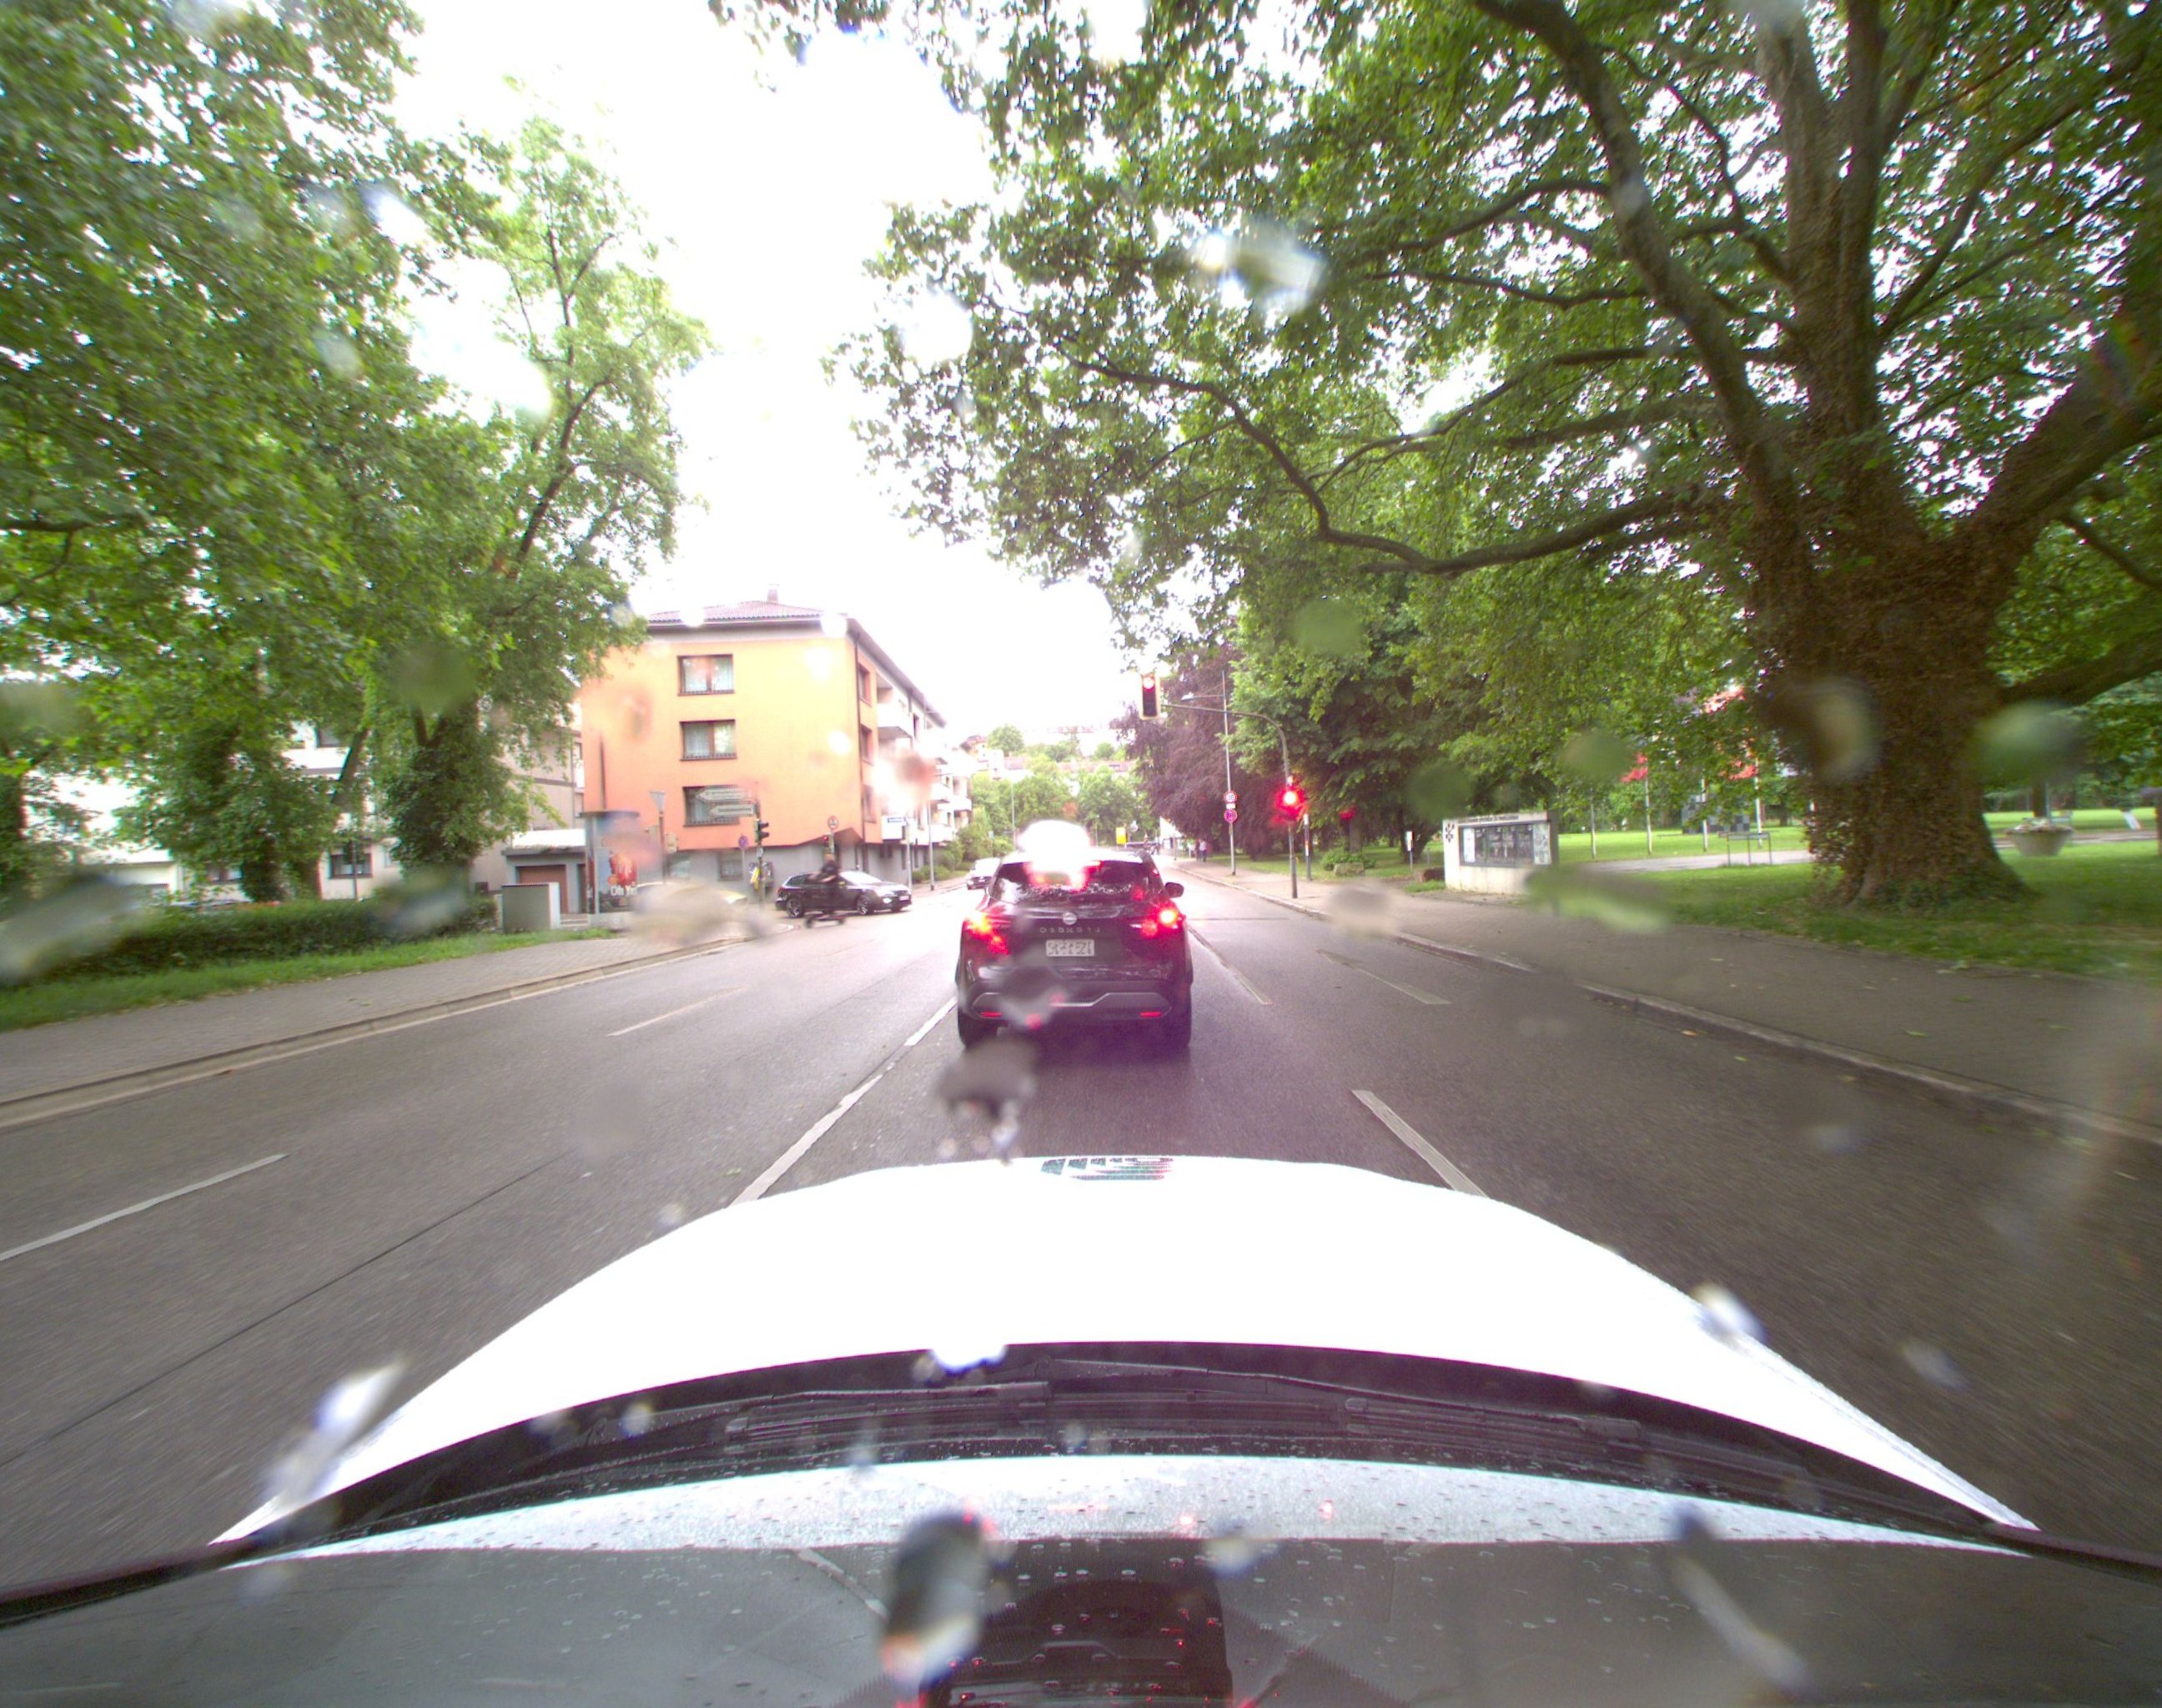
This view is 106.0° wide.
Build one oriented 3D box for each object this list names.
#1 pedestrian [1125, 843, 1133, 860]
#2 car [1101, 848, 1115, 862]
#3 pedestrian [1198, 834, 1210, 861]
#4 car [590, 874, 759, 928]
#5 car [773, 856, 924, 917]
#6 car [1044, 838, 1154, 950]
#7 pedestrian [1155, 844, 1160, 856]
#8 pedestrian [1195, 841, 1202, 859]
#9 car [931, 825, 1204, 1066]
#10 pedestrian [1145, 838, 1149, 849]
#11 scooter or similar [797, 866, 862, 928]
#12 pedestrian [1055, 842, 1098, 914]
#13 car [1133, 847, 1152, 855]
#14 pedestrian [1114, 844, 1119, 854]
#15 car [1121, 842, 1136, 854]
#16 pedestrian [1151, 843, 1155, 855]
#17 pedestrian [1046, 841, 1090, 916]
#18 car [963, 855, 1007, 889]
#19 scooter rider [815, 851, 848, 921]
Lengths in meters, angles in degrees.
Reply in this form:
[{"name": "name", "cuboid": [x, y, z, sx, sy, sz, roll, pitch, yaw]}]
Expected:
[{"name": "pedestrian", "cuboid": [5.109, -0.270, 86.721, 0.512, 1.802, 0.613, -3, 0, -32]}, {"name": "car", "cuboid": [3.329, 0.137, 99.326, 1.628, 1.532, 3.969, -3, 0, 2]}, {"name": "pedestrian", "cuboid": [9.460, -0.488, 62.546, 0.722, 2.013, 0.852, -3, 0, 2]}, {"name": "car", "cuboid": [-13.407, 1.529, 27.053, 4.618, 1.403, 1.832, -4, 0, 1]}, {"name": "car", "cuboid": [-7.260, 1.016, 25.536, 4.092, 1.625, 1.860, -3, 0, 17]}, {"name": "car", "cuboid": [0.350, 0.646, 15.132, 1.692, 1.745, 3.642, -3, 0, 2]}, {"name": "pedestrian", "cuboid": [11.897, -0.657, 126.727, 0.507, 1.802, 0.619, -3, 0, 0]}, {"name": "pedestrian", "cuboid": [9.653, -0.311, 66.934, 0.388, 1.502, 0.559, -3, 0, 2]}, {"name": "car", "cuboid": [-0.031, 0.640, 7.773, 1.906, 1.680, 4.002, -1, 0, 2]}, {"name": "pedestrian", "cuboid": [10.285, -1.651, 127.317, 0.506, 1.802, 0.620, -3, 0, 1]}, {"name": "scooter or similar", "cuboid": [-6.540, 1.100, 21.182, 1.401, 1.445, 0.810, -5, 2, -27]}, {"name": "pedestrian", "cuboid": [-0.137, 0.623, 21.704, 1.035, 1.876, 0.656, -1, 0, -9]}, {"name": "car", "cuboid": [13.357, -0.618, 177.291, 3.950, 1.532, 1.636, -3, 0, -7]}, {"name": "pedestrian", "cuboid": [5.996, -0.786, 135.791, 0.503, 1.673, 0.663, -3, 0, 29]}, {"name": "car", "cuboid": [7.508, -0.924, 128.544, 1.983, 1.735, 4.007, 0, 0, 7]}, {"name": "pedestrian", "cuboid": [11.156, -0.739, 126.764, 0.506, 1.802, 0.660, -3, 0, 6]}, {"name": "pedestrian", "cuboid": [-0.341, 0.621, 20.956, 1.035, 1.876, 0.656, -1, 0, -9]}, {"name": "car", "cuboid": [-4.901, 0.884, 41.950, 1.791, 1.533, 3.865, -3, 0, -2]}, {"name": "scooter rider", "cuboid": [-6.495, 0.820, 21.193, 0.647, 1.766, 0.728, -1, -2, -28]}]
